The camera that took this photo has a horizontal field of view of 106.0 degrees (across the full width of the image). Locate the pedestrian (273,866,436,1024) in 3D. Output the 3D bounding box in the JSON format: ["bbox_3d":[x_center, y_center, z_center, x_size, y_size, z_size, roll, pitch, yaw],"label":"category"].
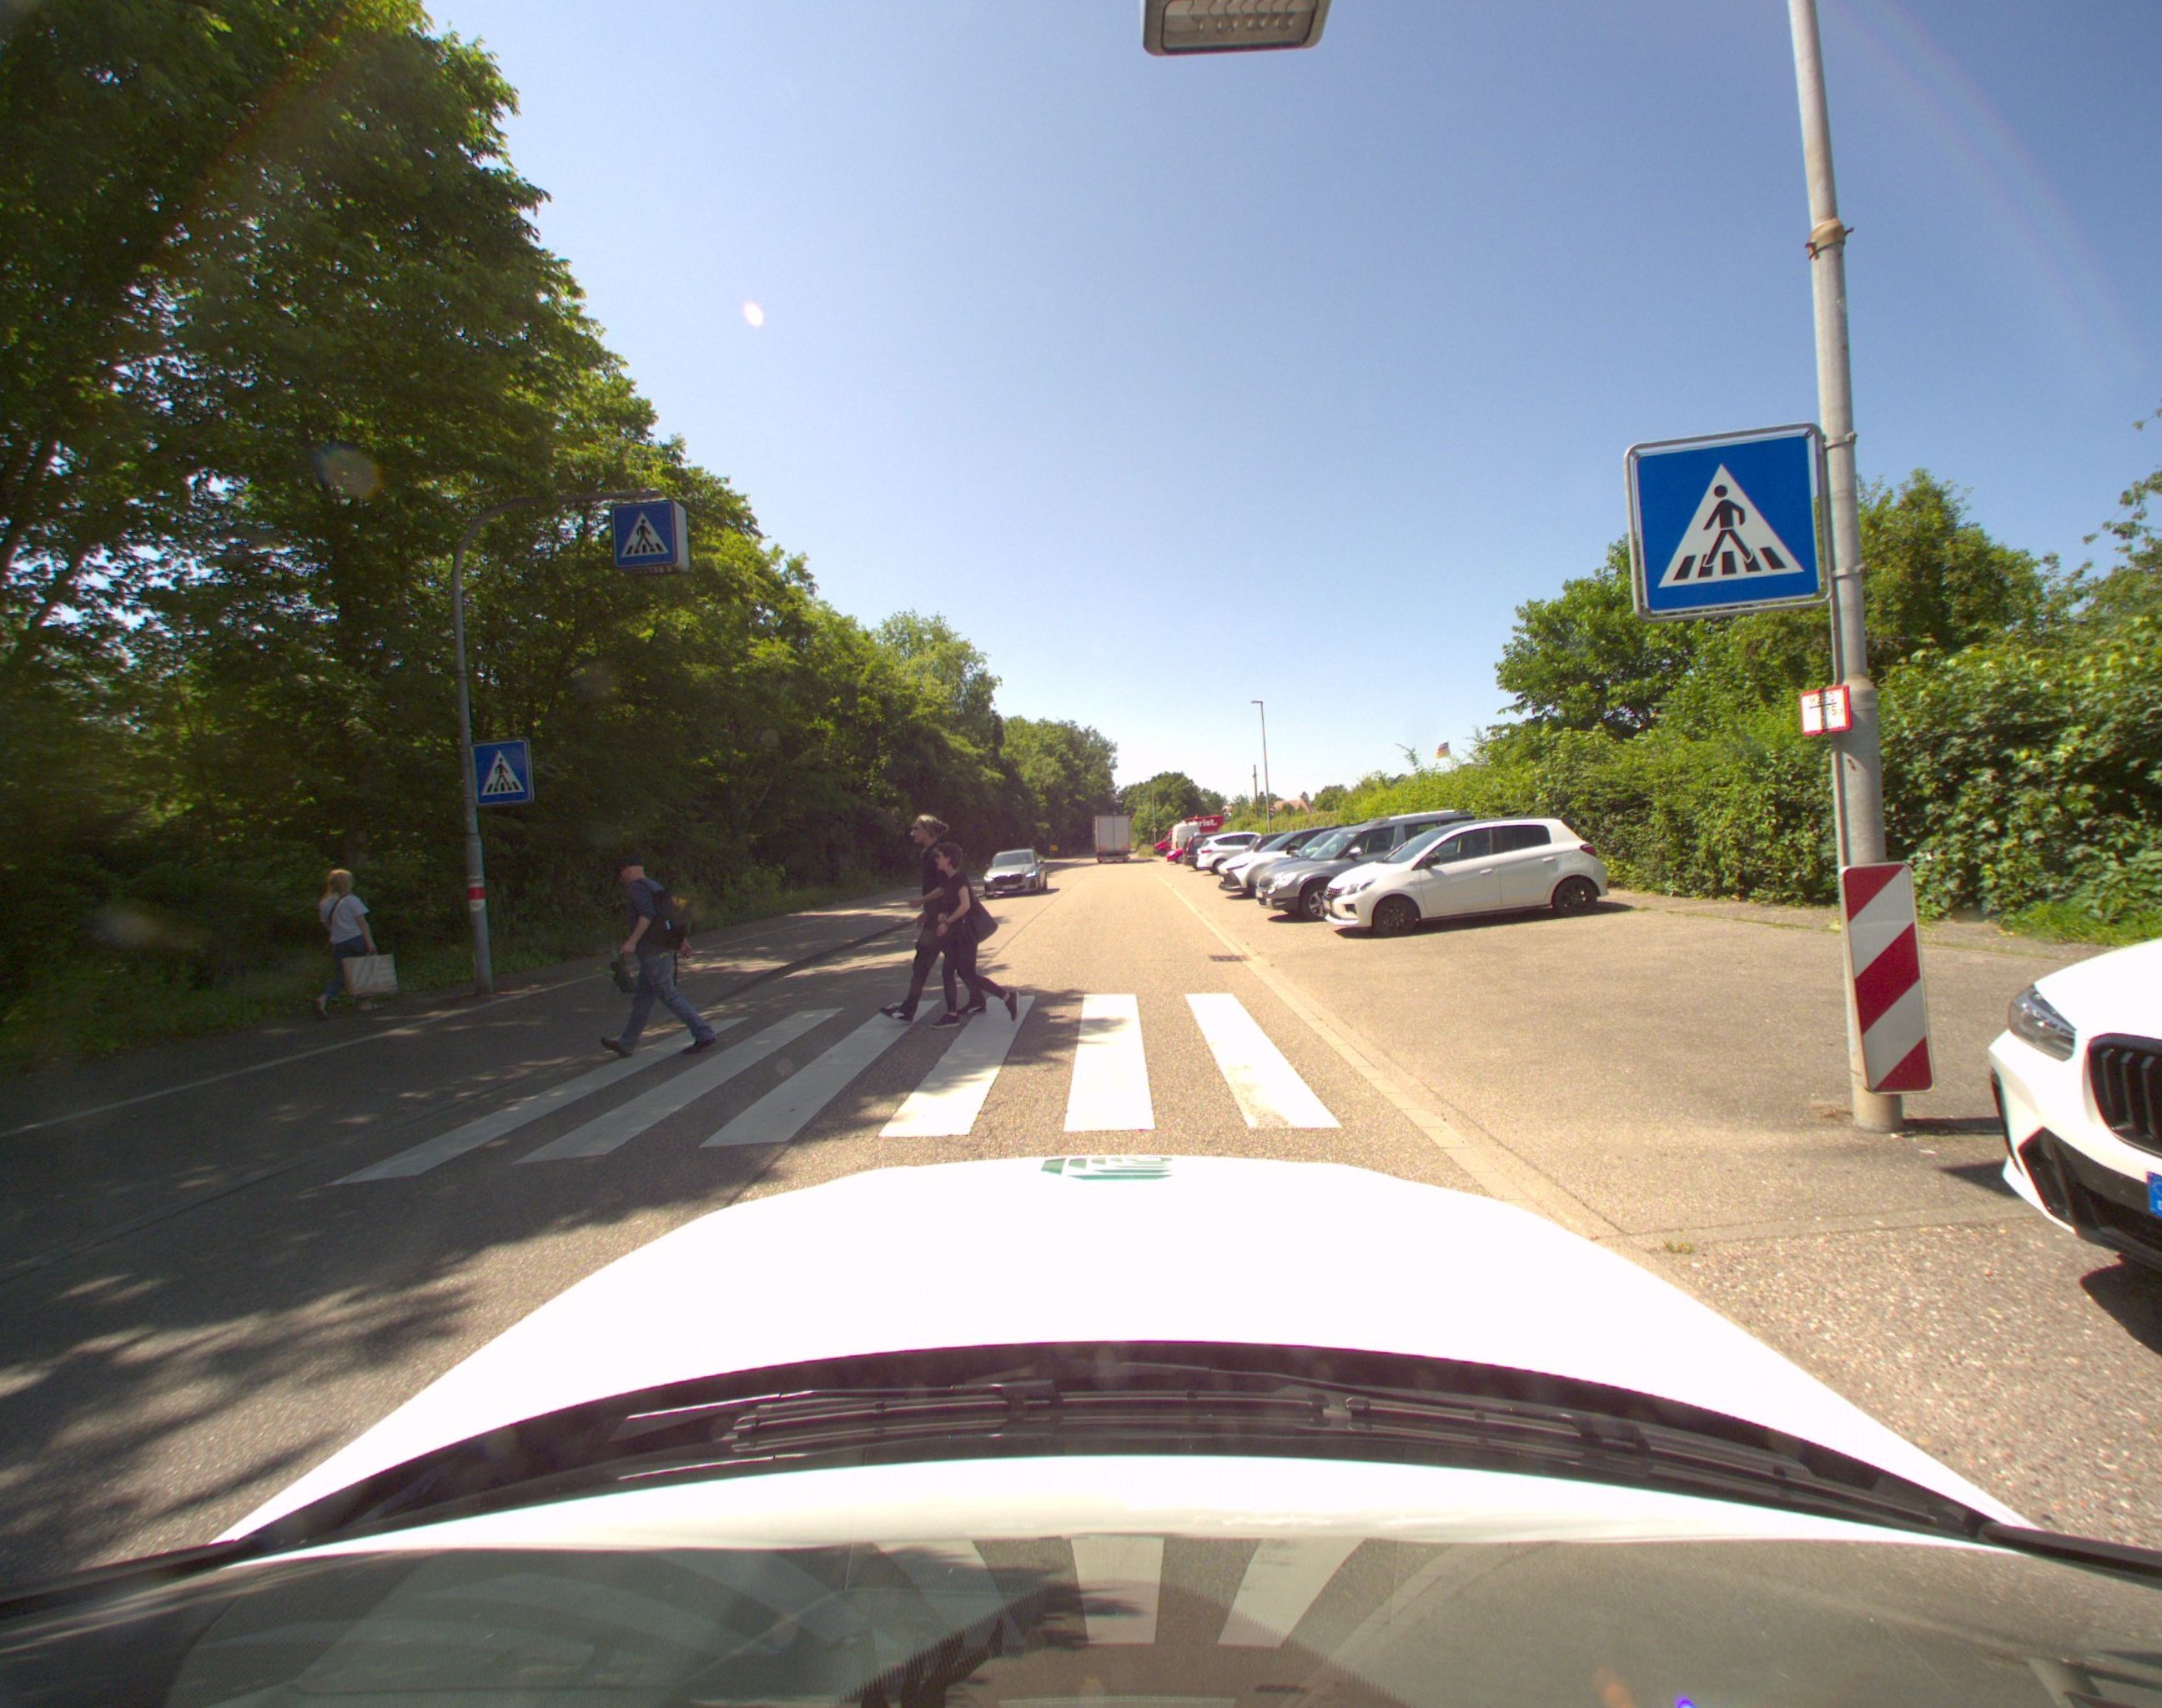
[{"bbox_3d":[-8.080,0.971,9.111,0.929,1.612,0.886,-3,1,1],"label":"pedestrian"}]

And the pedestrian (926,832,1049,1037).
[{"bbox_3d":[-0.830,0.649,7.049,0.894,1.611,0.777,-3,0,-14],"label":"pedestrian"}]

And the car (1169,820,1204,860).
[{"bbox_3d":[8.064,-1.097,62.730,1.946,2.733,7.175,-5,1,4],"label":"car"}]

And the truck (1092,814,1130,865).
[{"bbox_3d":[2.665,-1.198,67.997,2.722,3.745,13.258,-2,1,3],"label":"truck"}]

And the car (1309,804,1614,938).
[{"bbox_3d":[5.457,0.234,12.080,3.671,1.450,1.613,-7,1,6],"label":"car"}]

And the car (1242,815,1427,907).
[{"bbox_3d":[5.496,0.135,17.891,3.445,1.527,1.538,-7,1,-3],"label":"car"}]

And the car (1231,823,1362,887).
[{"bbox_3d":[6.205,0.017,23.739,3.371,1.503,1.590,-5,1,5],"label":"car"}]

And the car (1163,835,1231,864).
[{"bbox_3d":[7.396,-0.273,52.259,4.042,1.434,1.835,-6,1,-1],"label":"car"}]

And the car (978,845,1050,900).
[{"bbox_3d":[-2.235,0.578,28.239,1.884,1.532,4.198,-7,1,1],"label":"car"}]

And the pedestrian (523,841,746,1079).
[{"bbox_3d":[-3.717,0.829,6.912,1.152,1.751,1.023,-6,0,-2],"label":"pedestrian"}]

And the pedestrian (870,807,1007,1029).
[{"bbox_3d":[-1.324,0.545,7.496,1.084,1.864,0.780,-3,0,-14],"label":"pedestrian"}]

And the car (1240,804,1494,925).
[{"bbox_3d":[5.140,0.165,14.967,3.952,1.640,1.662,-7,1,-3],"label":"car"}]

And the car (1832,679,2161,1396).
[{"bbox_3d":[4.760,0.266,1.733,4.436,1.729,1.852,-5,0,2],"label":"car"}]

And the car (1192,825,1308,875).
[{"bbox_3d":[6.827,-0.166,33.182,4.262,1.578,1.765,-6,1,0],"label":"car"}]

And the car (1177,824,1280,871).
[{"bbox_3d":[7.086,-0.305,39.392,4.441,1.804,1.951,-6,0,-2],"label":"car"}]

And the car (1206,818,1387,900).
[{"bbox_3d":[5.407,0.110,20.764,3.954,1.522,1.862,-7,1,-4],"label":"car"}]

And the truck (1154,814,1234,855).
[{"bbox_3d":[10.693,-1.860,76.794,7.087,3.439,2.339,-3,1,13],"label":"truck"}]
